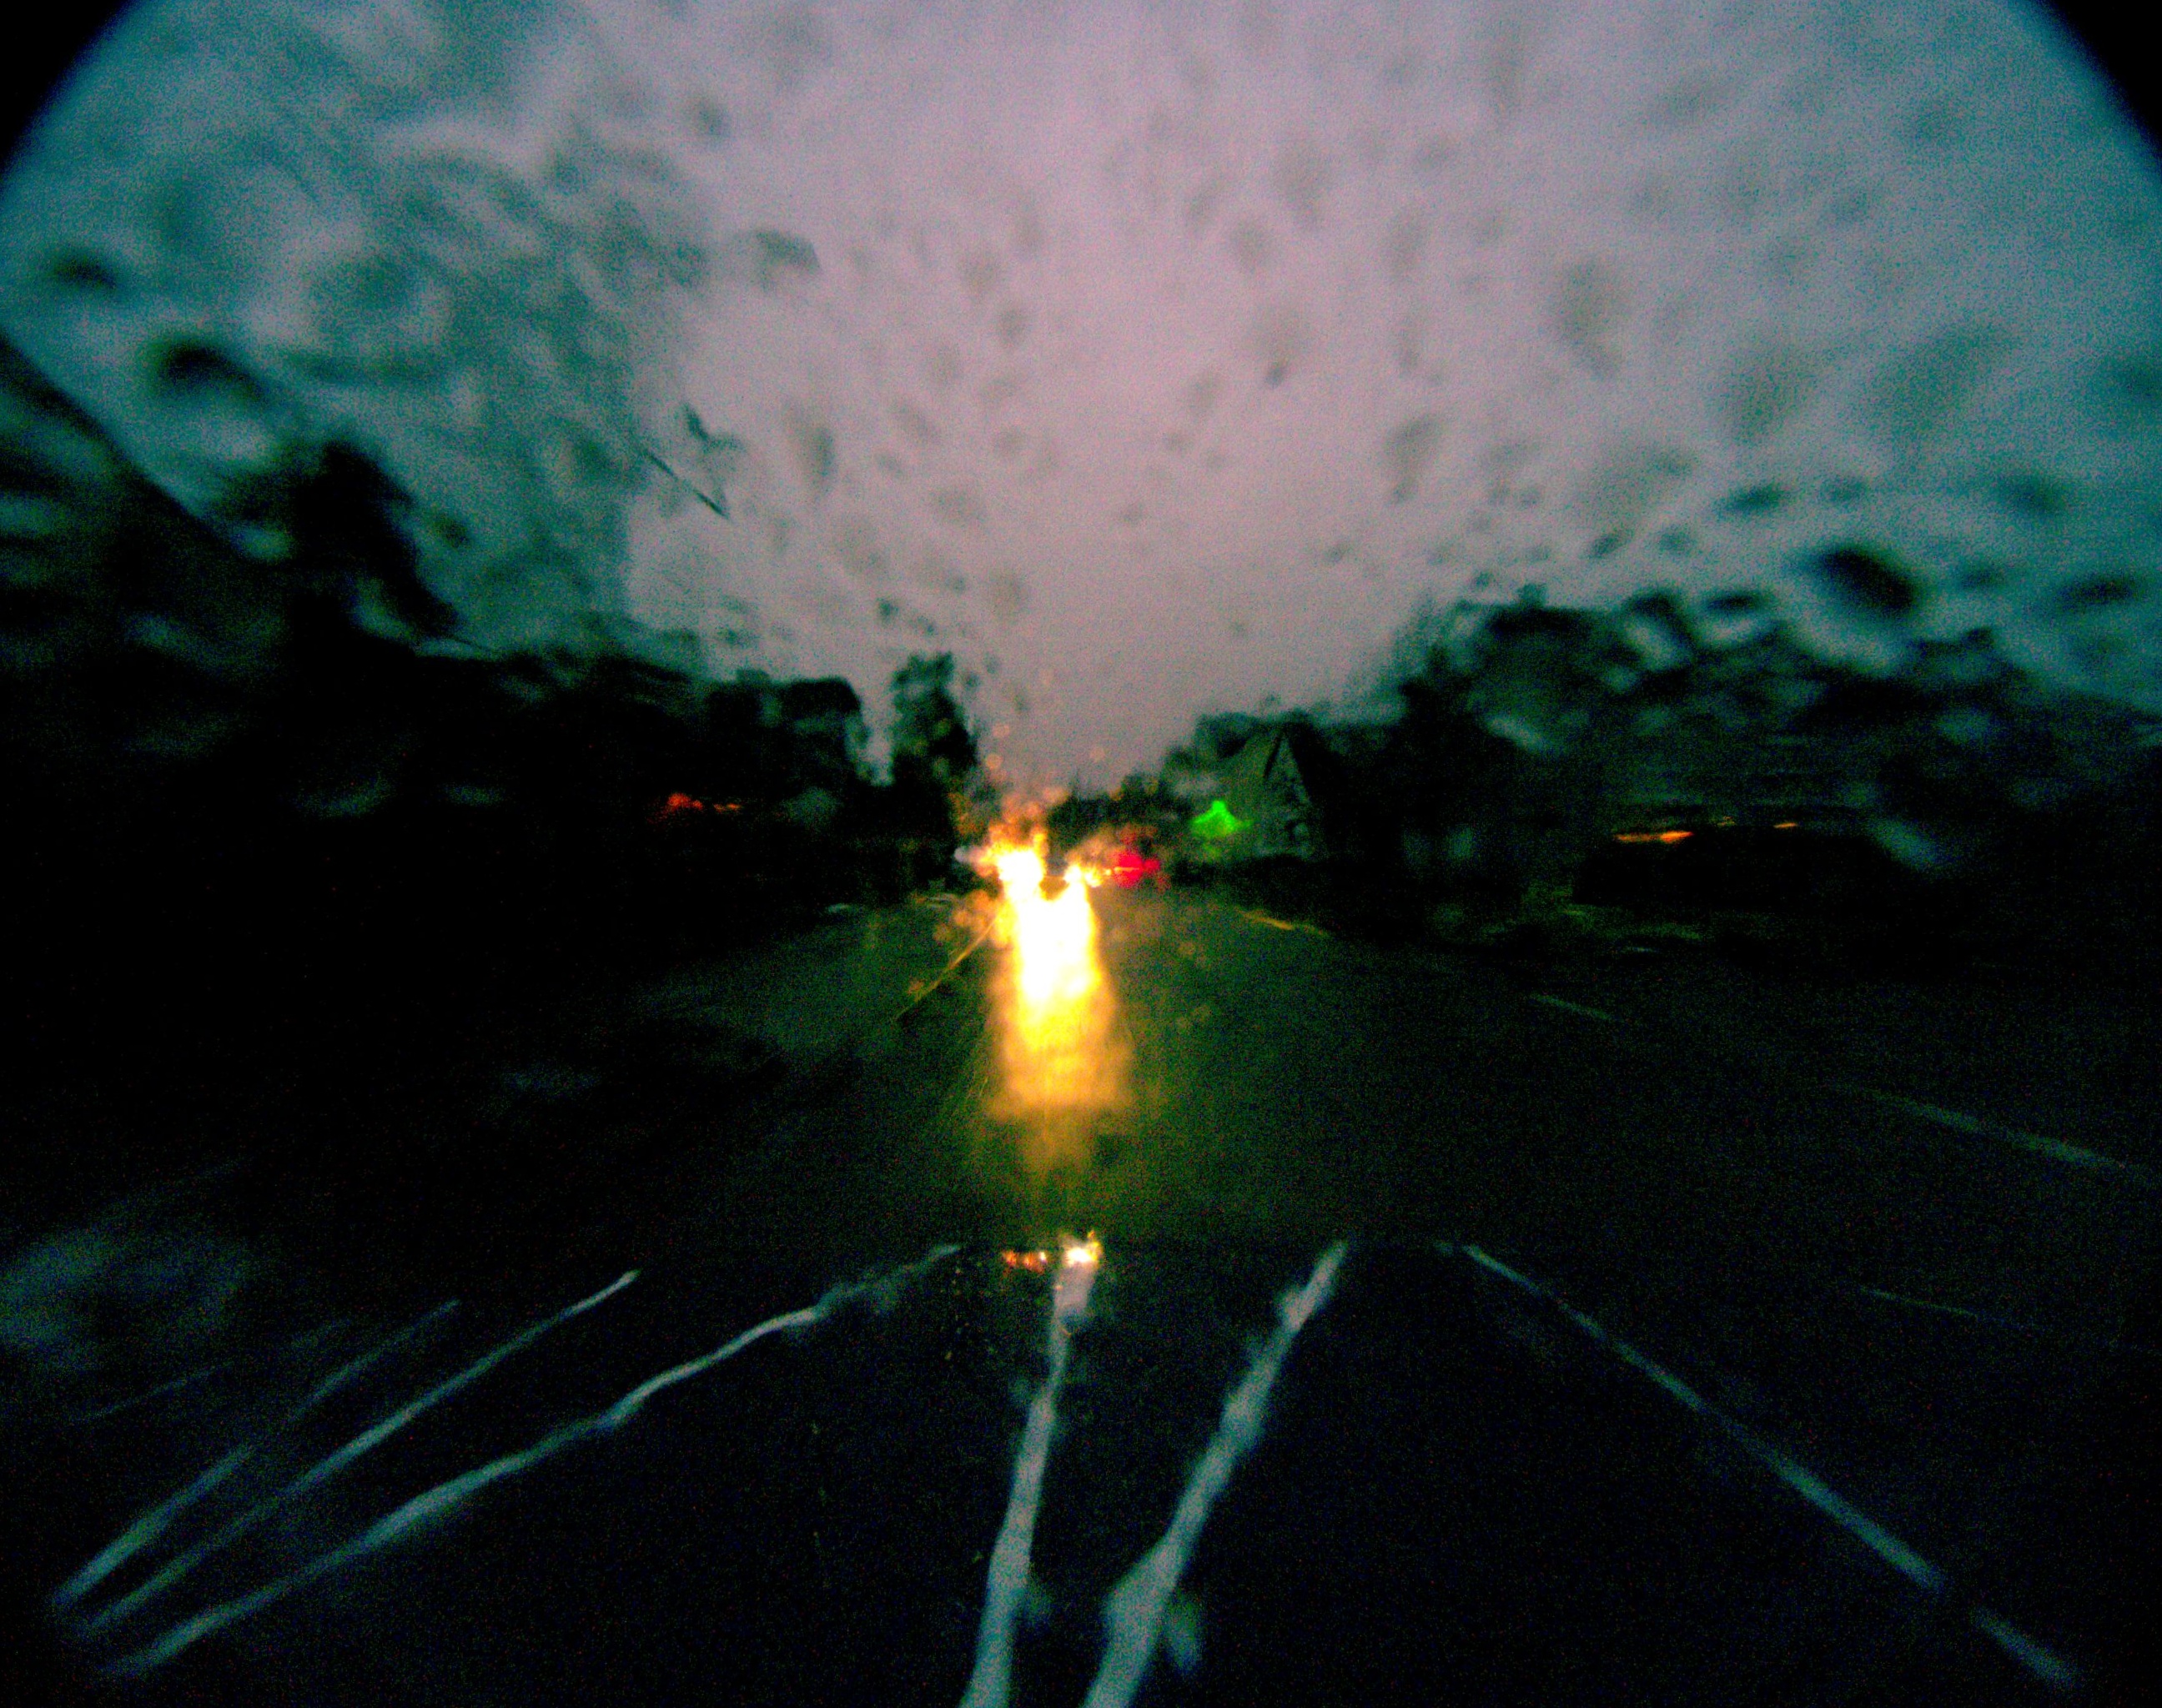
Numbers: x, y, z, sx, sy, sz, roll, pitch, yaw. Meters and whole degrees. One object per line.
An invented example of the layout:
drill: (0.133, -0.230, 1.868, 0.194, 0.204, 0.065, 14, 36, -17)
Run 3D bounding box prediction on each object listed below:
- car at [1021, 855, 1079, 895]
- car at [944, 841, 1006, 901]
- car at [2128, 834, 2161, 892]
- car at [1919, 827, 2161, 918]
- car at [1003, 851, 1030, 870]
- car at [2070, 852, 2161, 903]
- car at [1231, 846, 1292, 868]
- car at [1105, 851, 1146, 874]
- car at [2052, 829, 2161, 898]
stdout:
car: (-1.409, 0.859, 32.496, 2.000, 1.575, 3.996, 1, 0, -9)
car: (-3.942, 0.591, 29.100, 1.983, 2.002, 5.741, 2, 0, -5)
car: (29.219, 0.211, 18.493, 1.899, 1.460, 3.994, -2, 0, -18)
car: (20.294, 0.309, 15.429, 1.999, 1.641, 3.998, -1, 0, -5)
car: (-6.231, 0.607, 72.697, 2.001, 1.660, 3.995, 0, 1, -13)
car: (26.499, 0.536, 17.562, 2.001, 1.160, 3.994, -1, 0, -16)
car: (13.626, 0.236, 57.512, 4.001, 1.591, 1.920, 0, 1, -10)
car: (2.883, 0.527, 50.232, 1.913, 1.479, 4.564, -1, 0, -7)
car: (23.889, 0.187, 15.887, 1.898, 1.460, 3.997, -1, 0, -9)
